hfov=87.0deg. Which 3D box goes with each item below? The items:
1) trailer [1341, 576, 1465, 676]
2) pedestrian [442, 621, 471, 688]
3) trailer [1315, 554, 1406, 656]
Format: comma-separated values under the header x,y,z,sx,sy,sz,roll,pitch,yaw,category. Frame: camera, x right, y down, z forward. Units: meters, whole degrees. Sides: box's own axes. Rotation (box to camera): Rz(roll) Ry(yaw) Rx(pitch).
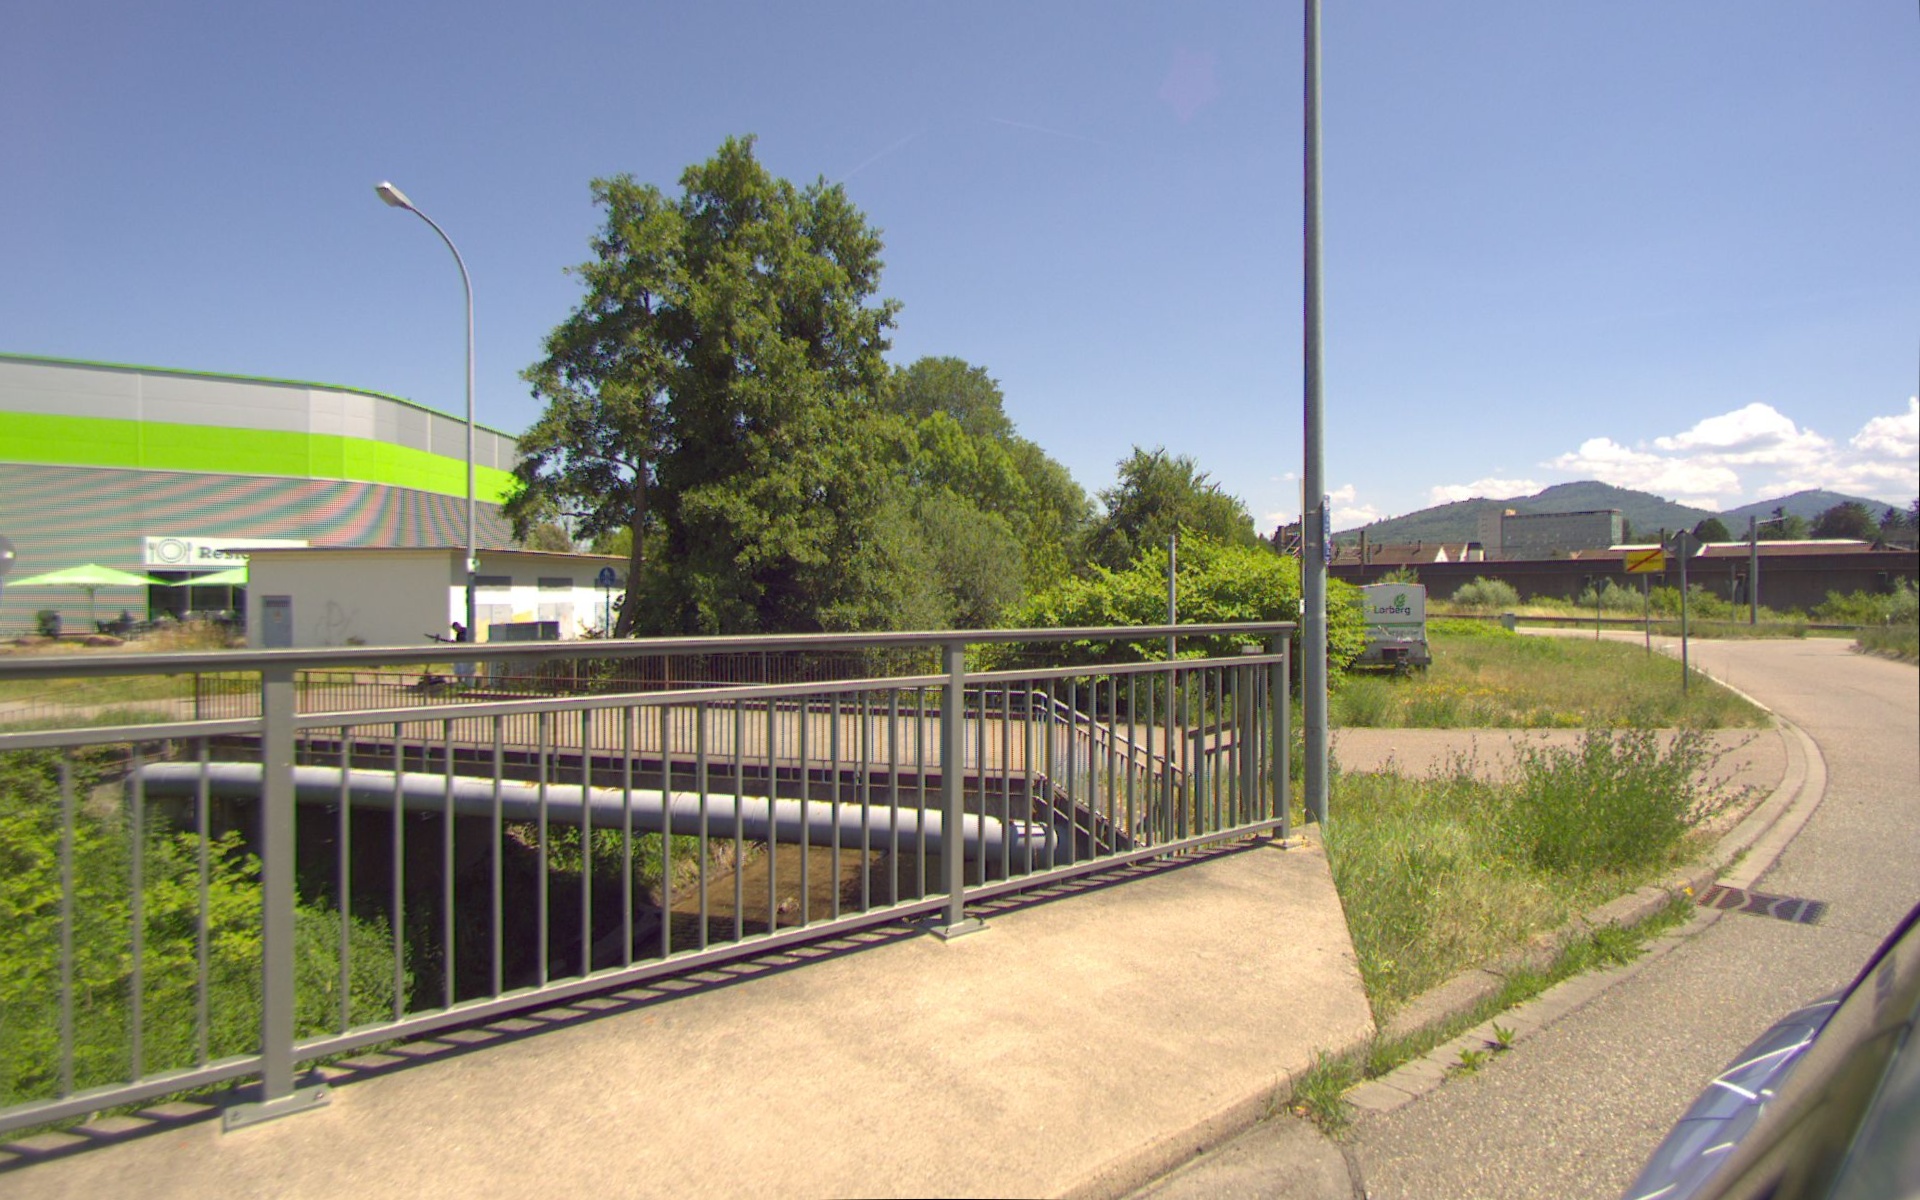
x,y,z,sx,sy,sz,roll,pitch,yaw,category
10.149,0.542,23.486,1.823,2.104,3.955,-1,0,12,trailer
-11.909,1.274,23.925,0.433,1.559,0.410,-1,-3,25,pedestrian
11.143,0.128,28.366,1.823,2.704,3.136,-1,0,12,trailer
